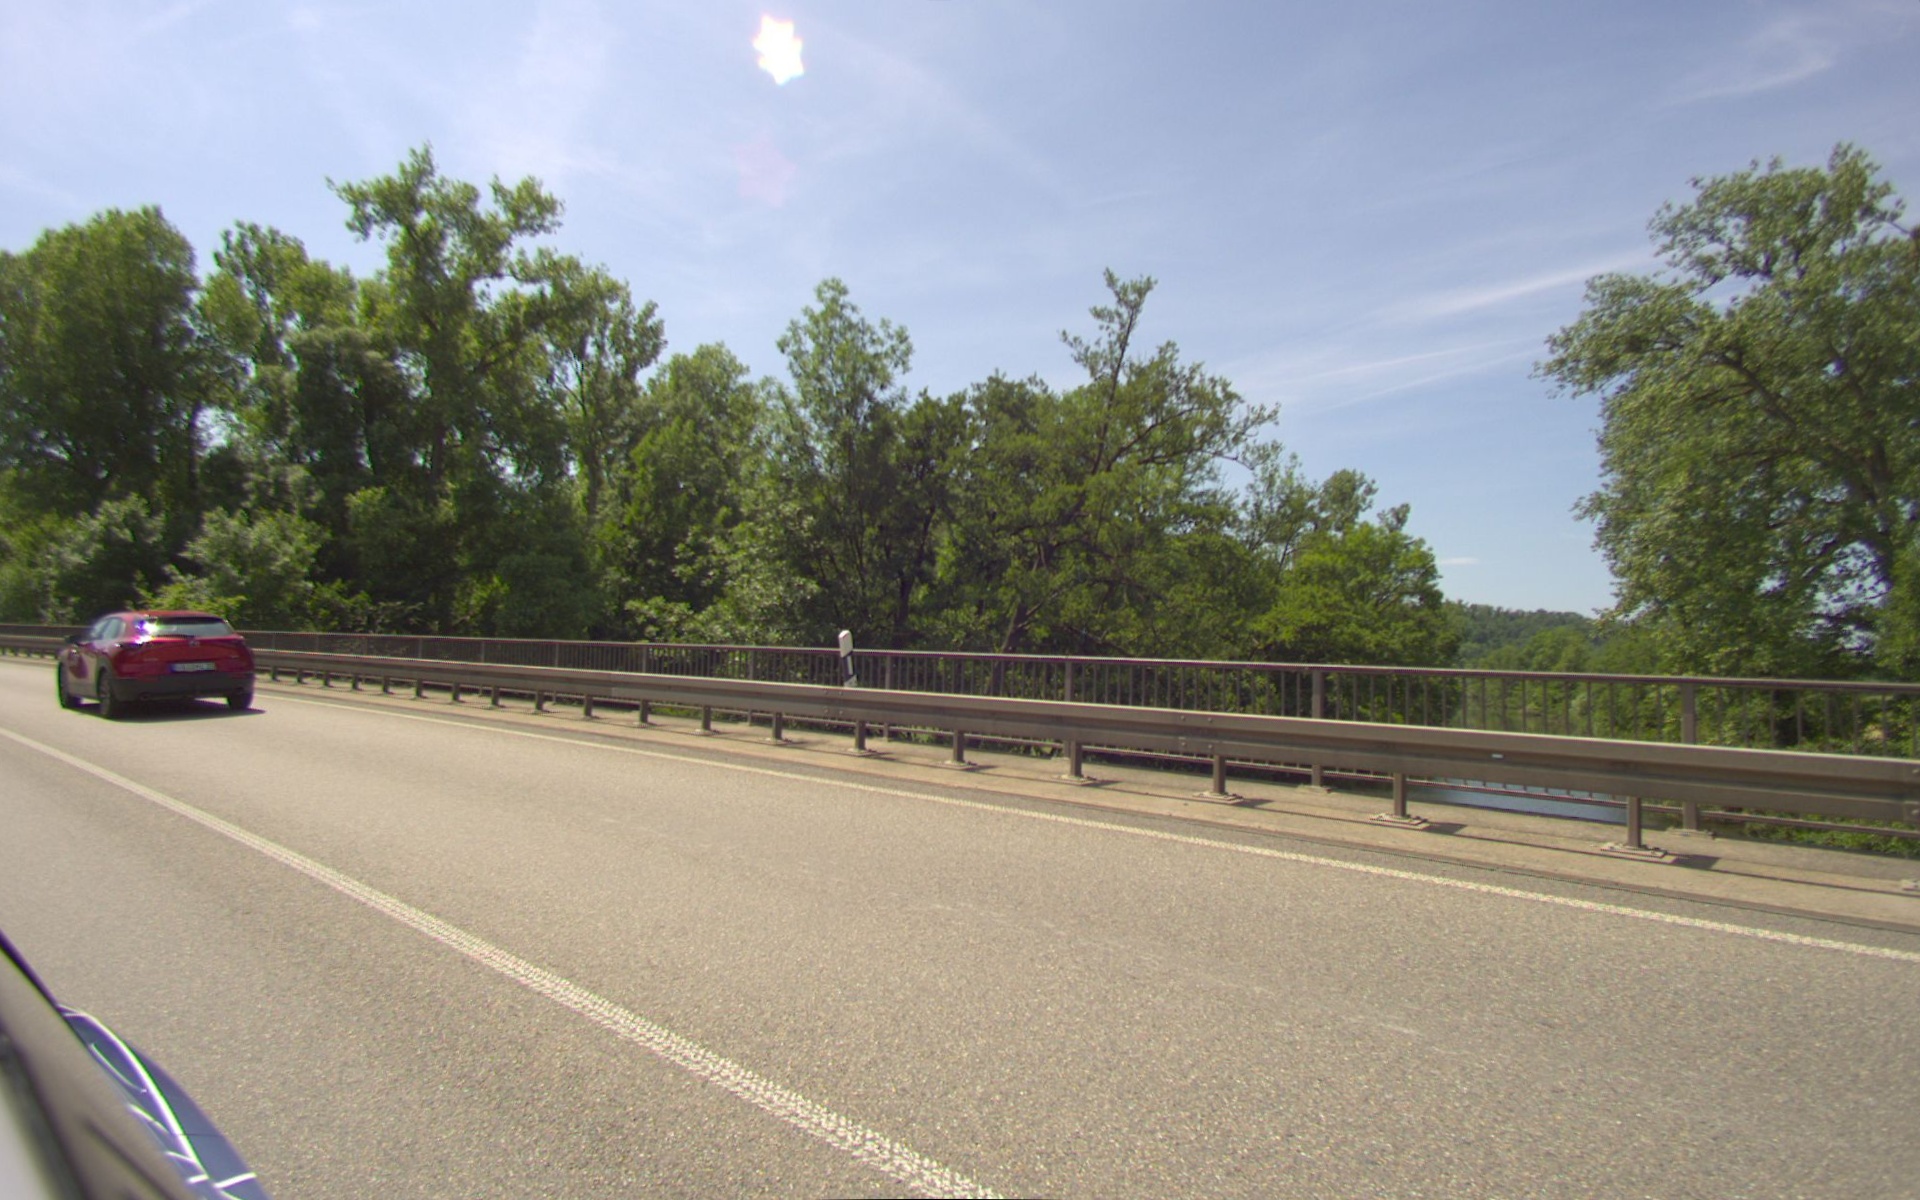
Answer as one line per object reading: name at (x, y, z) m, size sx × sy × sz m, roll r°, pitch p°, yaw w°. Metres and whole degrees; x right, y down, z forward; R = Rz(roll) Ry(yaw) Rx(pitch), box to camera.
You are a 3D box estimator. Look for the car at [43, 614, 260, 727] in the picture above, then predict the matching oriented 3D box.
car at (-12.588, 0.996, 15.682) m, size 3.945 × 1.535 × 1.801 m, roll -1°, pitch -1°, yaw 39°
